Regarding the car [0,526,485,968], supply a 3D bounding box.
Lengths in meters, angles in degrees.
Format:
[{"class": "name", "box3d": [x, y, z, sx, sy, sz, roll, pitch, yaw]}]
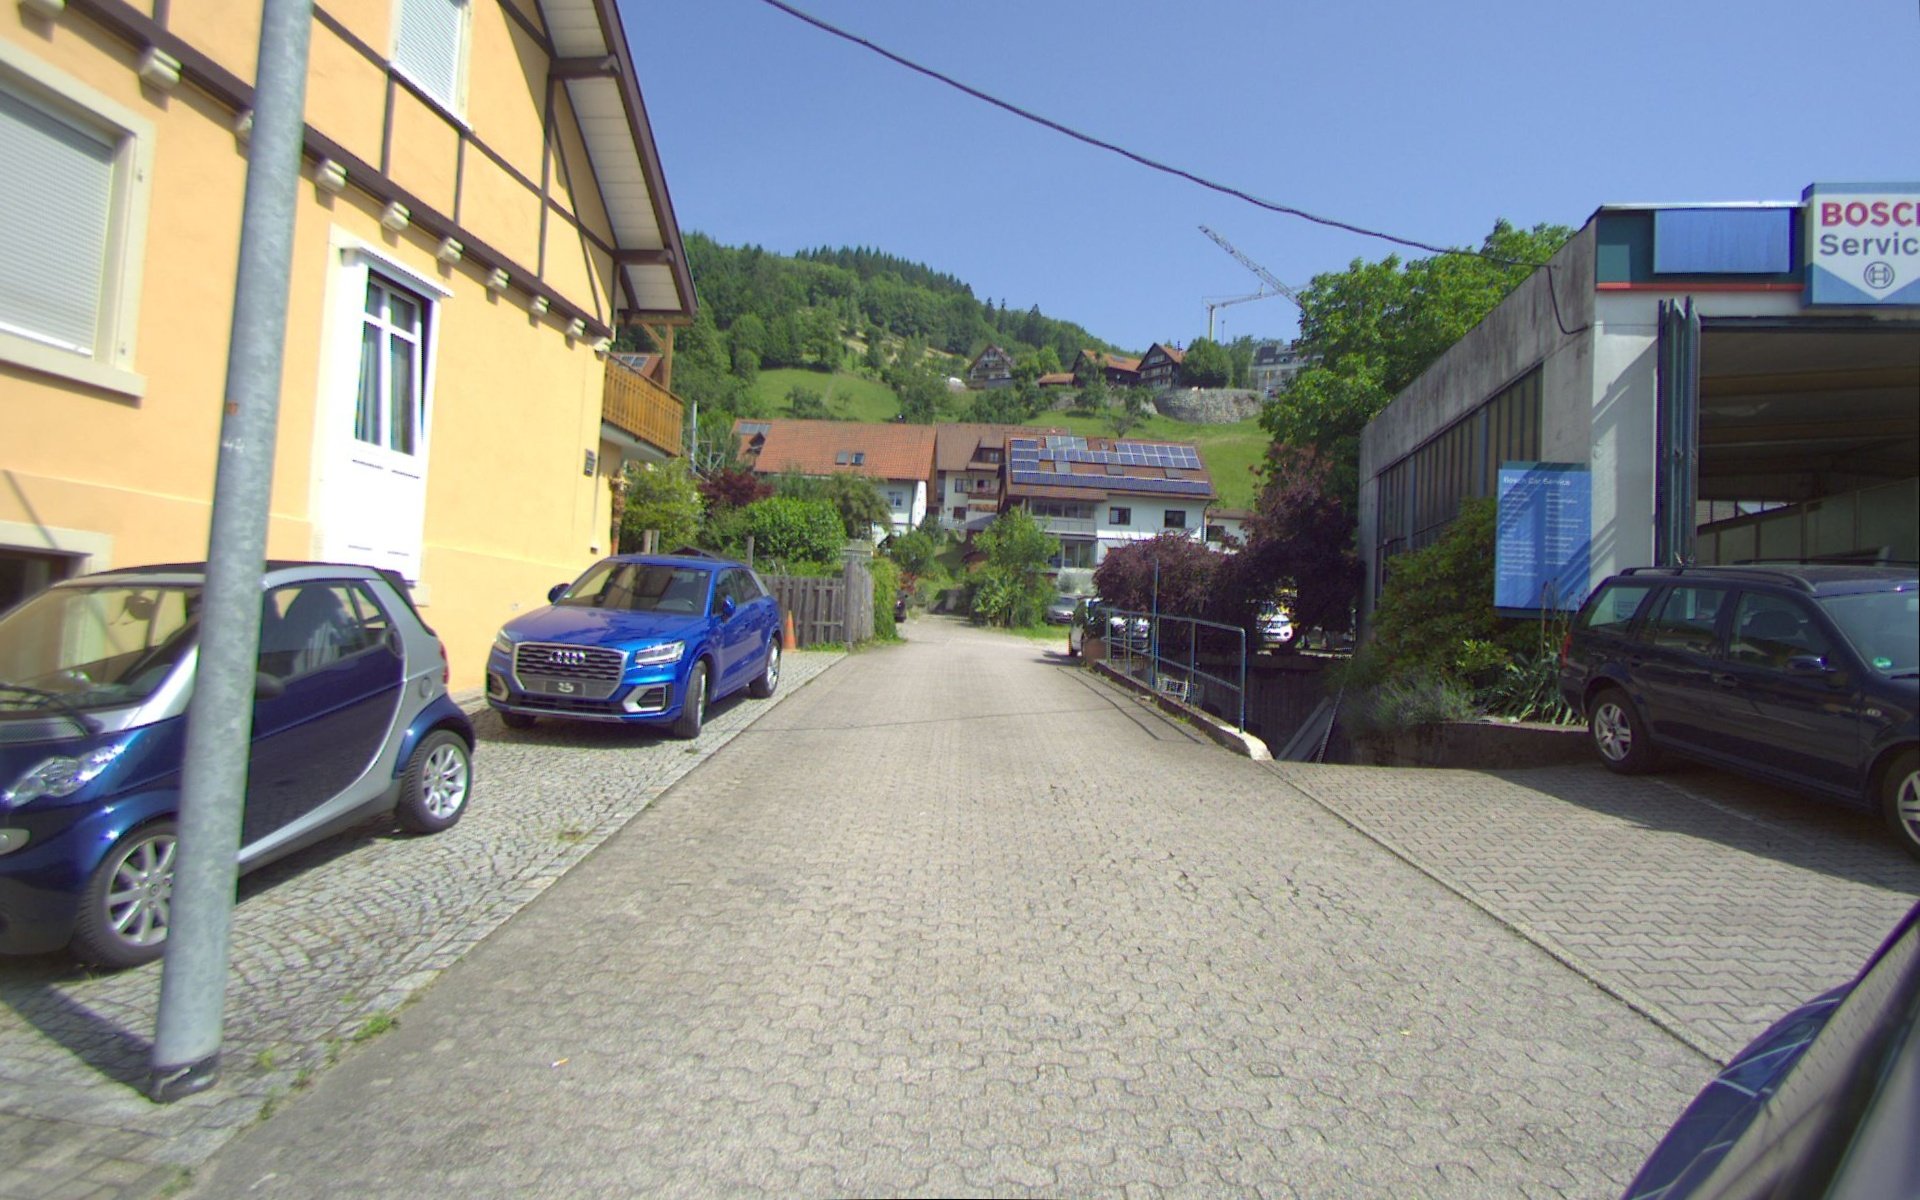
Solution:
[{"class": "car", "box3d": [-3.725, 0.471, 4.933, 1.400, 1.555, 2.660, -1, 2, 5]}]

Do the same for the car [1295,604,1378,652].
[{"class": "car", "box3d": [13.430, 0.967, 36.334, 1.649, 1.574, 3.908, 0, 1, 3]}]

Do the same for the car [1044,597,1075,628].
[{"class": "car", "box3d": [4.739, 0.581, 48.523, 1.320, 1.388, 3.211, 0, 1, 3]}]

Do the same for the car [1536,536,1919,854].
[{"class": "car", "box3d": [5.602, 0.435, 6.092, 1.766, 1.564, 4.331, -1, 1, 0]}]

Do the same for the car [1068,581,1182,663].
[{"class": "car", "box3d": [3.632, 0.429, 23.133, 1.963, 1.665, 4.875, 0, 1, 2]}]

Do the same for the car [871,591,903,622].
[{"class": "car", "box3d": [-2.922, 0.229, 40.566, 1.091, 1.077, 2.866, 4, 2, -2]}]

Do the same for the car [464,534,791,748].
[{"class": "car", "box3d": [-2.959, 0.296, 9.932, 1.704, 1.646, 3.931, 1, 1, 4]}]

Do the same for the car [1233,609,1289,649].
[{"class": "car", "box3d": [11.026, 1.025, 37.232, 1.443, 1.274, 3.380, 2, 1, 8]}]
